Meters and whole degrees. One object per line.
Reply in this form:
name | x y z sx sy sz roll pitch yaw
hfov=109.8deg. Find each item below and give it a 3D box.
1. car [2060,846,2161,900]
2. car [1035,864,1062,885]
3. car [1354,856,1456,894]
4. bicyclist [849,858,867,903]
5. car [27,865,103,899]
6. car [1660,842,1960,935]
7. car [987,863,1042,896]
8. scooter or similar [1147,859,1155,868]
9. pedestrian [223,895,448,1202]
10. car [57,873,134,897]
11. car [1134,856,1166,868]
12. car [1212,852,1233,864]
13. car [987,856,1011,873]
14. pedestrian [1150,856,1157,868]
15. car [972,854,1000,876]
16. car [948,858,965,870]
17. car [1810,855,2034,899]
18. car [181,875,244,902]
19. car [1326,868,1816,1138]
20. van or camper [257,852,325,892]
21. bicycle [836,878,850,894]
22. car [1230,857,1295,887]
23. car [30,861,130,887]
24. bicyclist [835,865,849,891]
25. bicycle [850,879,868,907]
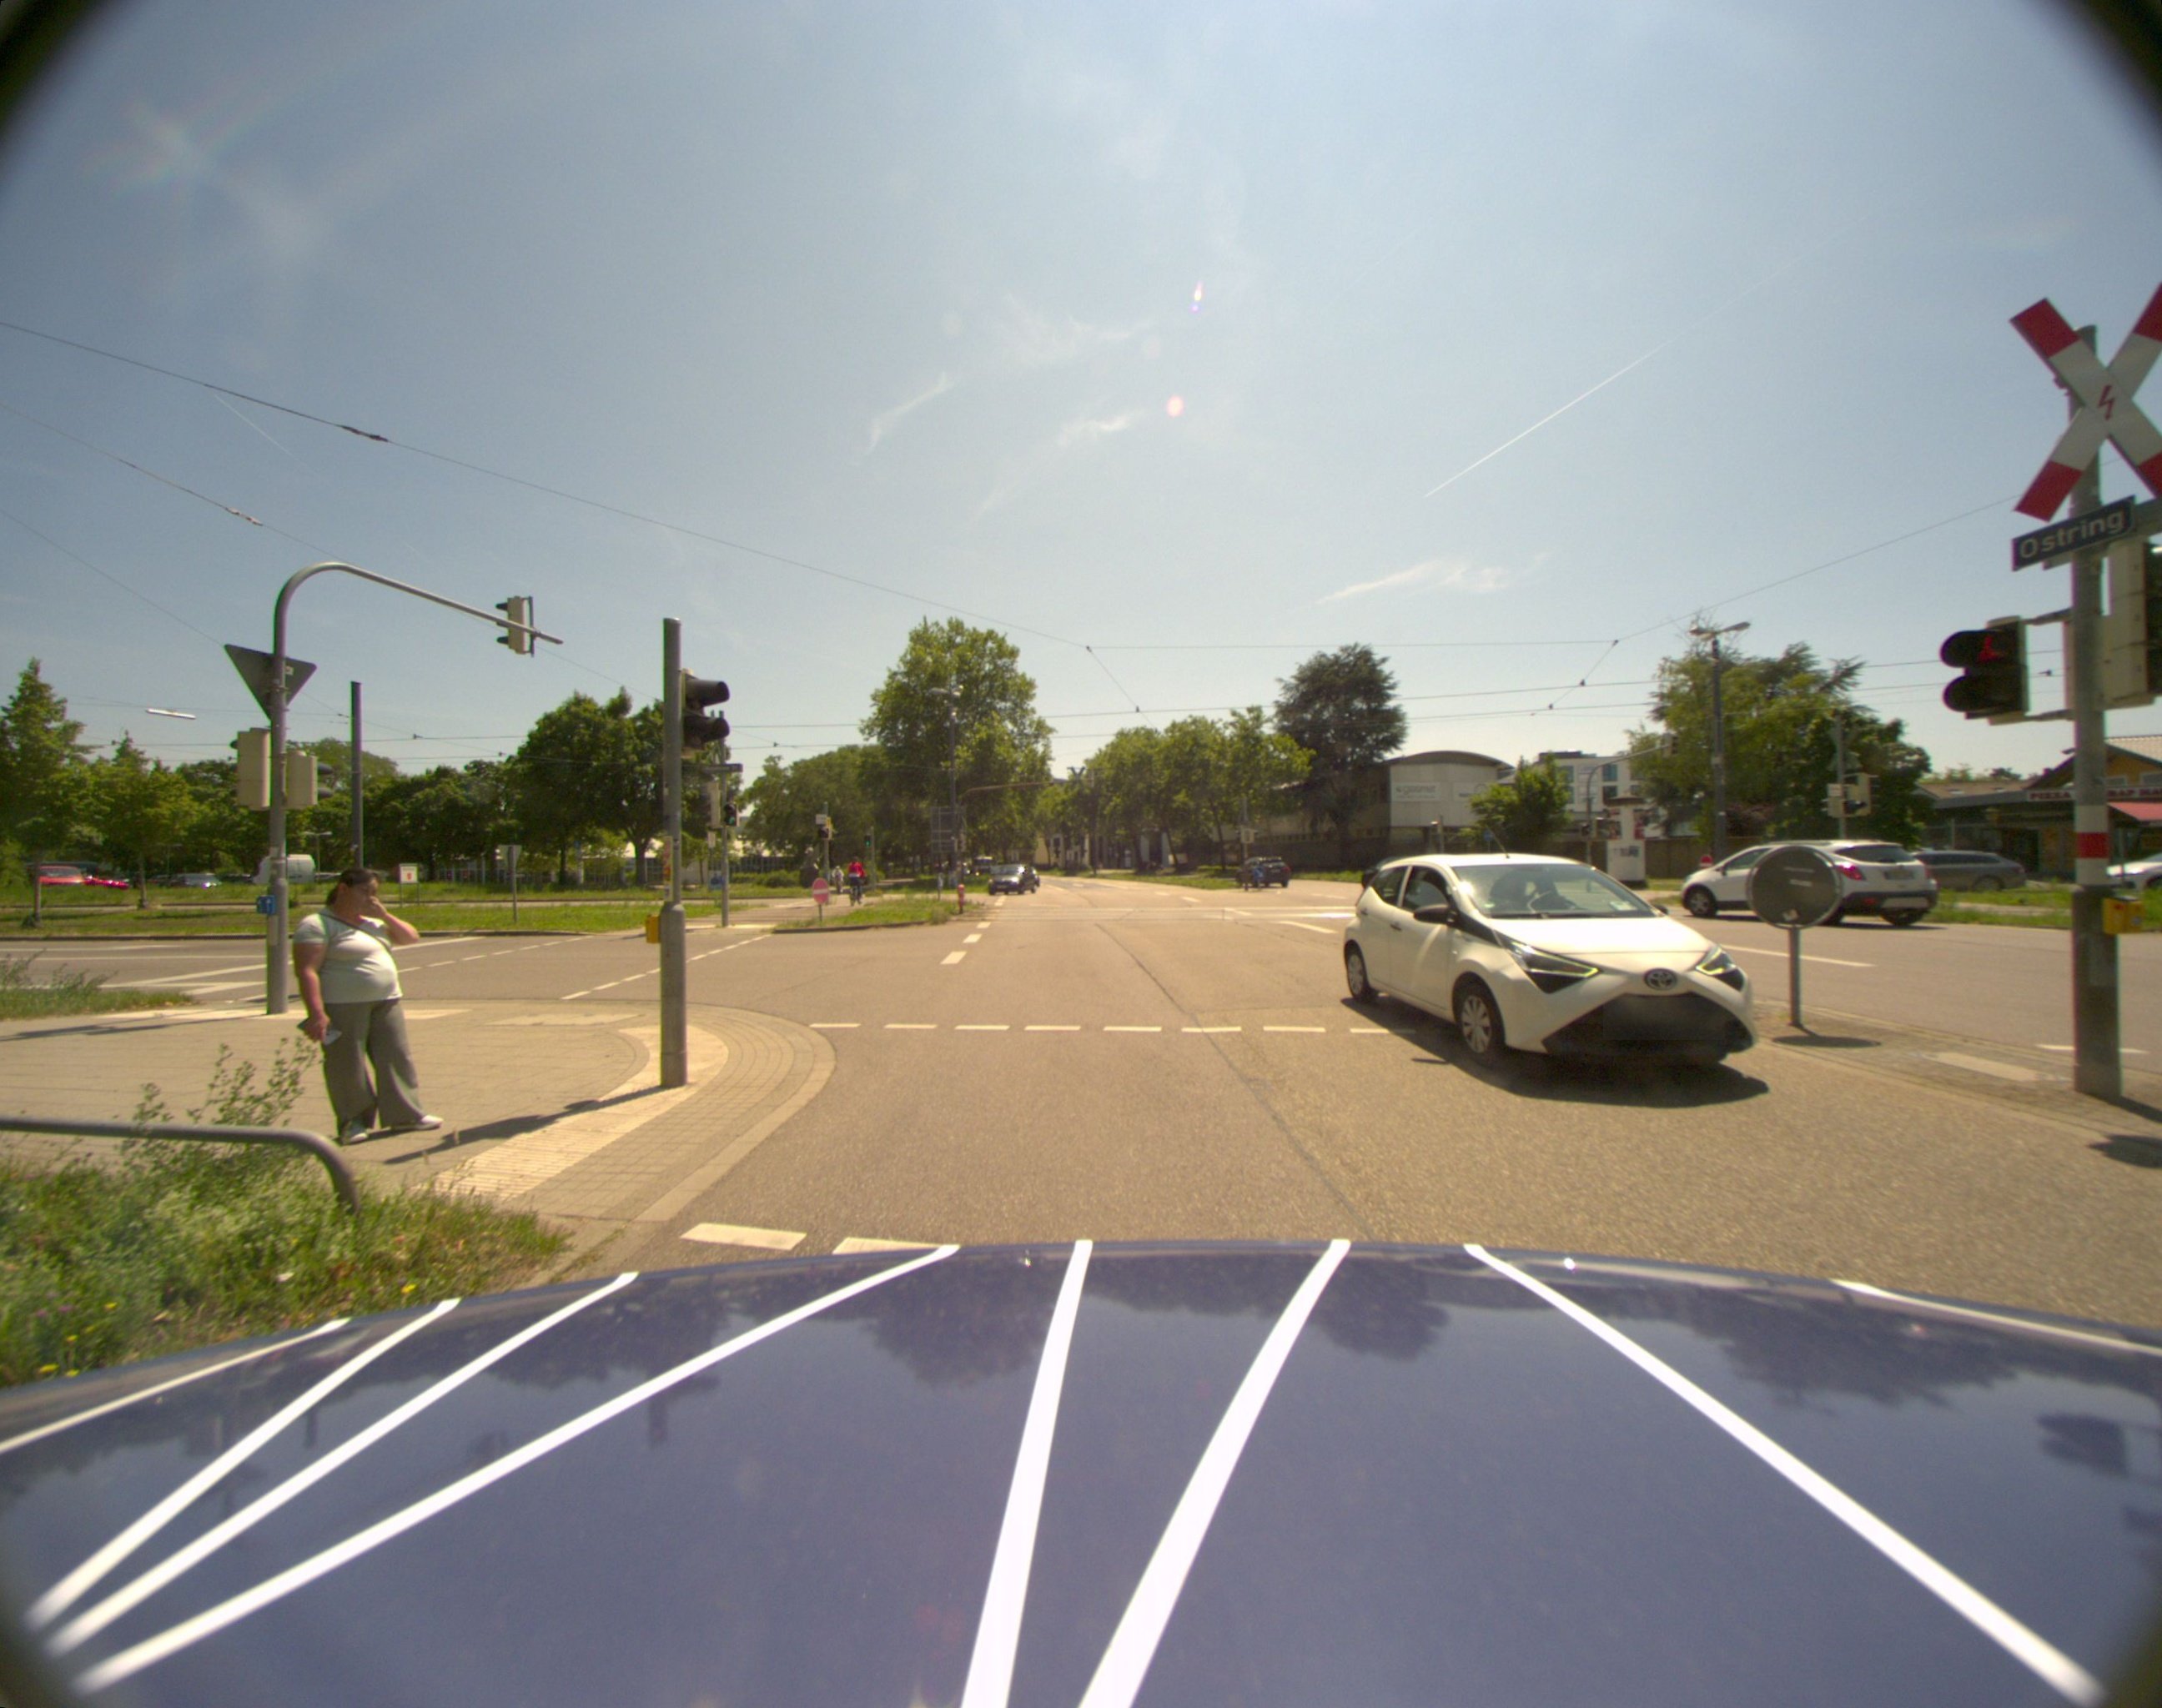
car | 33.411 0.530 22.779 4.450 1.595 2.220 -1 0 24
car | -2.199 1.361 51.100 1.792 1.325 3.742 -1 0 -3
car | 13.456 0.811 31.895 1.955 1.431 4.744 -1 0 -5
bicyclist | -7.901 0.937 26.946 0.580 1.547 0.672 -1 0 -17
car | -61.772 1.689 46.192 4.651 1.991 2.078 -1 0 29
car | 14.633 0.632 15.680 1.792 1.605 4.403 -1 0 -4
car | -3.215 1.217 37.408 1.652 1.453 3.868 -1 0 11
scooter or similar | 9.141 1.181 99.161 0.681 1.157 0.858 -1 0 -16
pedestrian | -3.946 0.977 4.065 0.554 1.475 0.630 -1 0 6
car | -69.609 2.155 53.711 1.510 1.594 3.086 -1 0 29
car | 10.429 1.234 115.212 4.449 1.669 1.914 -1 0 -26
car | 19.776 0.531 106.376 1.821 1.637 3.525 -2 0 -7
car | -8.671 1.087 80.106 2.001 1.783 3.996 -1 0 -13
pedestrian | 9.388 0.989 98.363 0.644 1.551 0.790 -1 0 -17
car | -11.941 1.375 94.858 2.921 2.638 6.359 -1 0 -12
car | -19.440 1.532 118.493 2.001 1.827 3.994 -1 0 -17
car | 27.923 0.736 25.456 4.660 1.372 1.891 -1 0 22
car | -57.456 2.252 50.261 4.060 1.708 1.960 -1 0 29
car | 3.444 0.901 6.249 1.623 1.437 3.651 -3 0 0
van or camper | -57.097 1.269 54.883 5.116 2.735 2.207 -1 0 30
bicycle | -12.344 1.667 39.451 0.465 0.759 1.667 -1 0 -10
car | 9.587 0.915 40.443 1.915 1.530 4.295 -1 0 -8
car | -79.907 1.564 60.711 2.241 2.002 4.430 -1 0 25
bicyclist | -12.412 1.256 39.471 0.601 1.331 0.665 -1 0 -10
bicycle | -7.904 1.364 26.976 0.589 0.890 1.809 0 0 -17
